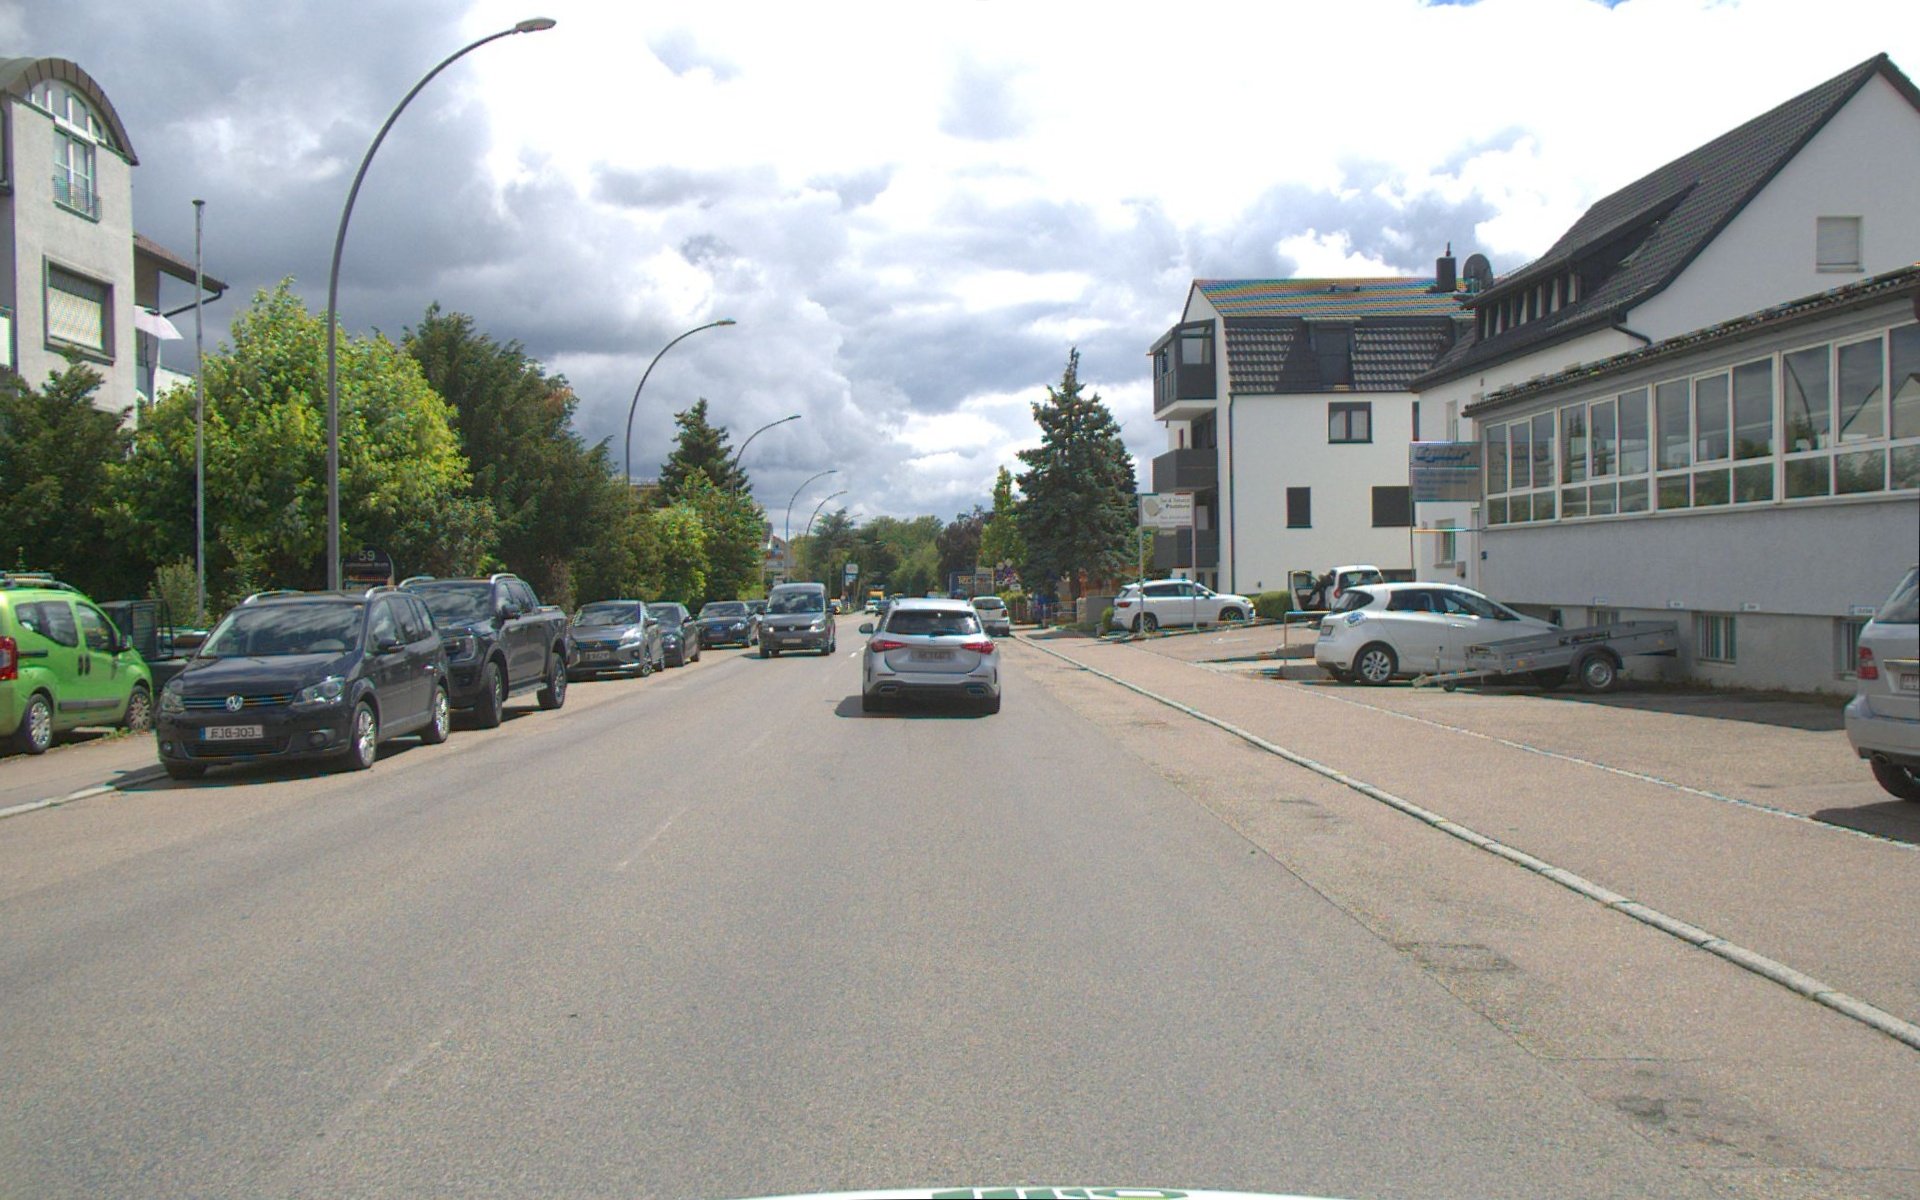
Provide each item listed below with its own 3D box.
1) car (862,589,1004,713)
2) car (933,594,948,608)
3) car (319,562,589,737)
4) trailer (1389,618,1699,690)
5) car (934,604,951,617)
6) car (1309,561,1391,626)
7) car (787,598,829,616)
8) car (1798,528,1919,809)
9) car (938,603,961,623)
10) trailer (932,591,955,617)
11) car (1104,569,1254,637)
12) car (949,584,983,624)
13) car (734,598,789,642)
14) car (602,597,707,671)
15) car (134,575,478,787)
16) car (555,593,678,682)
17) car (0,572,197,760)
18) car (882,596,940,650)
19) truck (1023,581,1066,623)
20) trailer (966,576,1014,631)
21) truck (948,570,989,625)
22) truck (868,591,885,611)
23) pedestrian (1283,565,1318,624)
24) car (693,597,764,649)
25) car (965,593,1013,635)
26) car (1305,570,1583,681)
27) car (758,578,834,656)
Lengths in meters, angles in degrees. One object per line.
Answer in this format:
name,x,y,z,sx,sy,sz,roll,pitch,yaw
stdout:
car,-0.444,0.624,22.434,1.749,1.510,4.314,0,0,-3
car,-2.943,0.101,246.013,2.101,2.019,5.260,-1,0,-1
car,-6.371,0.548,21.561,1.873,1.852,5.428,-4,0,-2
trailer,8.126,0.738,23.202,3.740,0.822,1.656,-2,0,-3
car,-1.998,1.181,187.240,1.756,1.475,4.360,-2,0,-4
car,10.560,-0.219,44.999,1.597,1.545,3.667,-4,1,6
car,-17.174,0.815,187.065,4.537,1.661,2.195,-4,0,-5
car,7.731,0.258,9.979,4.321,1.636,1.973,-4,0,-5
car,-0.870,1.097,139.765,1.901,1.599,4.446,-2,0,1
trailer,-1.502,0.376,151.199,1.903,2.334,4.443,-2,0,-3
car,6.552,0.091,49.733,4.108,1.682,1.866,-5,0,-2
car,0.302,0.227,93.915,1.835,2.207,4.463,1,0,-1
car,-7.231,0.710,60.528,1.685,1.457,4.197,-3,0,-3
car,-6.870,0.728,37.547,1.629,1.460,4.337,-3,0,-2
car,-6.189,0.671,16.262,1.629,1.709,4.525,-3,0,-2
car,-6.747,0.695,32.850,1.629,1.537,3.943,-4,0,-2
car,-10.170,0.632,18.135,1.756,1.816,4.336,0,0,-3
car,-1.542,0.685,51.481,1.720,1.585,3.998,-1,0,-3
truck,4.713,0.071,92.491,1.793,2.117,5.384,-4,1,-2
trailer,1.235,0.155,68.987,1.737,2.182,4.112,-1,0,-2
truck,0.464,-0.151,99.508,2.273,3.151,6.041,1,0,-1
truck,-12.298,0.085,243.852,2.033,2.863,7.077,-2,0,0
pedestrian,9.370,-0.155,45.482,0.748,1.554,0.781,-4,0,4
car,-7.089,0.668,50.947,1.629,1.439,4.337,-2,0,-2
car,1.102,0.513,63.142,1.684,1.457,3.984,-3,0,1
car,7.518,0.384,25.931,3.821,1.637,1.748,1,0,-3
car,-4.151,0.400,42.380,1.629,1.827,4.336,-2,0,-3
